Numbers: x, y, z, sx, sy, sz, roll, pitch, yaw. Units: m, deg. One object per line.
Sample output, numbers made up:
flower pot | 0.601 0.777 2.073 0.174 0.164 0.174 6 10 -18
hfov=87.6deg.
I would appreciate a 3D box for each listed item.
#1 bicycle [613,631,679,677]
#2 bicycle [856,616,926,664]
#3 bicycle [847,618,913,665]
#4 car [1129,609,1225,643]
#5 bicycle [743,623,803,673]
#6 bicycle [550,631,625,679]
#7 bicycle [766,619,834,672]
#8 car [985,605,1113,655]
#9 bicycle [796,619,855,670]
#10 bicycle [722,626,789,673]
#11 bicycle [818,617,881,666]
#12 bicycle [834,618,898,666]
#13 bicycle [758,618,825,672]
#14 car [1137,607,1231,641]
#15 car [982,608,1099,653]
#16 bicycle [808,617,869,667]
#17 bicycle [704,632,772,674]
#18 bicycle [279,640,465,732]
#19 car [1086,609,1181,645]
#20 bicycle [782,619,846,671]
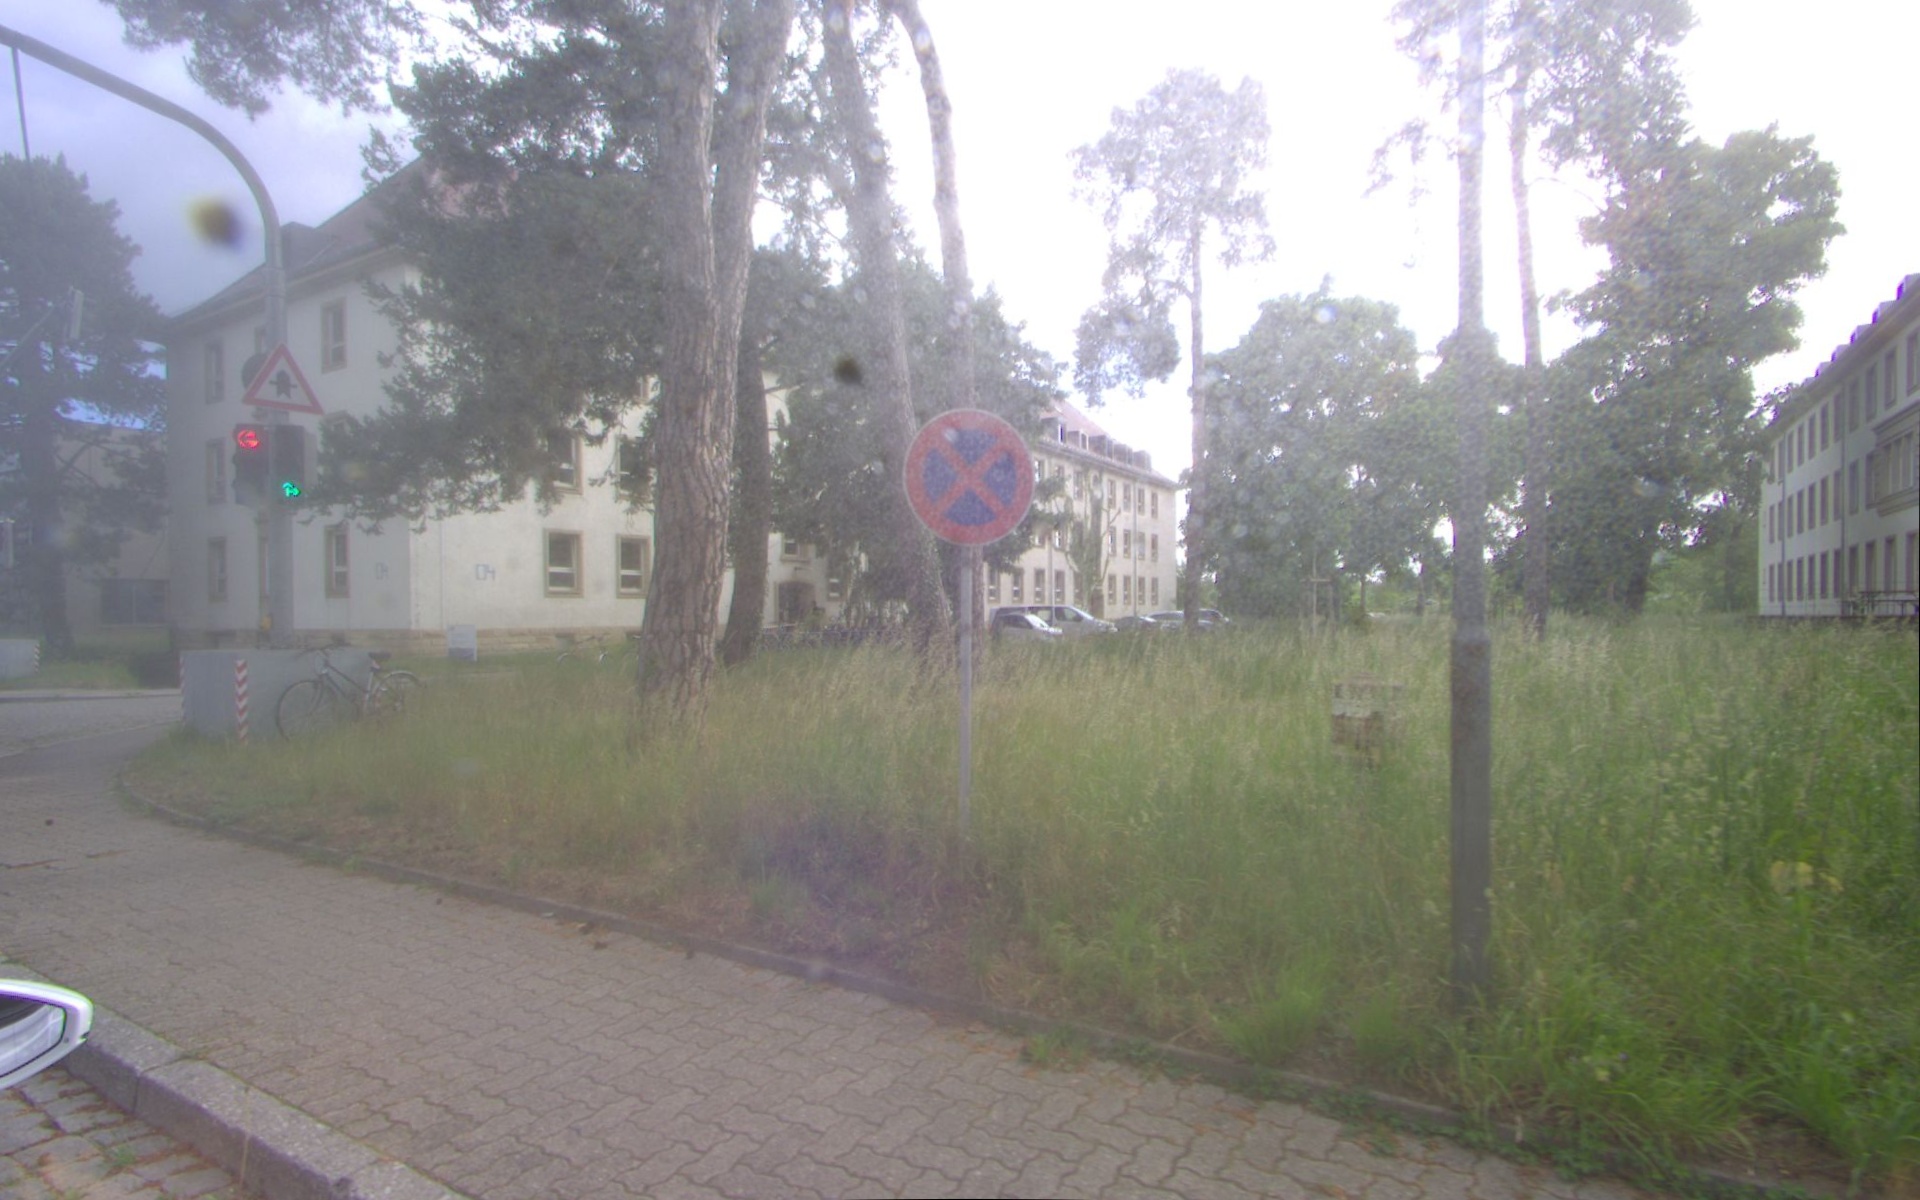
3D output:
bicycle | -7.445 1.271 23.799 0.535 1.027 1.534 0 -1 31
bicycle | -2.059 1.163 29.698 2.075 1.385 0.755 0 0 37
bicycle | -2.331 1.185 29.030 2.105 1.337 0.553 0 0 37
car | 11.158 1.322 51.551 4.453 1.639 1.989 -1 -1 33
bicycle | -4.747 1.192 25.377 1.618 1.231 0.539 0 0 37
bicycle | -8.248 1.207 22.232 0.522 0.993 1.618 0 -1 31
bicycle | -4.214 1.165 26.308 1.950 1.337 0.574 0 0 37
car | 3.575 1.169 39.950 4.774 1.935 2.237 0 0 17
bicycle | -3.665 1.196 27.190 1.894 1.337 0.390 0 0 37
bicycle | -5.110 1.220 24.923 1.878 1.116 0.539 0 0 37
bicycle | -3.129 1.151 28.197 1.913 1.337 0.551 0 0 37
bicycle | -2.684 1.169 28.582 1.990 1.337 0.538 0 0 37
bicycle | -4.350 1.145 25.723 2.021 1.337 0.436 0 0 37
car | 12.223 1.304 54.650 4.629 1.796 1.989 -1 -1 33
car | 2.913 1.070 36.401 3.877 1.550 1.852 0 -1 34
bicycle | -3.363 1.134 27.625 1.829 1.337 0.553 0 0 37
bicycle | -5.409 1.270 24.339 1.878 0.961 0.539 -1 -1 37
bicycle | -6.390 0.905 10.975 0.564 0.885 1.697 0 0 32
car | 8.094 1.246 46.834 3.943 1.639 1.989 -1 -1 33
bicycle | -3.924 1.184 26.821 1.895 1.337 0.504 0 0 37
